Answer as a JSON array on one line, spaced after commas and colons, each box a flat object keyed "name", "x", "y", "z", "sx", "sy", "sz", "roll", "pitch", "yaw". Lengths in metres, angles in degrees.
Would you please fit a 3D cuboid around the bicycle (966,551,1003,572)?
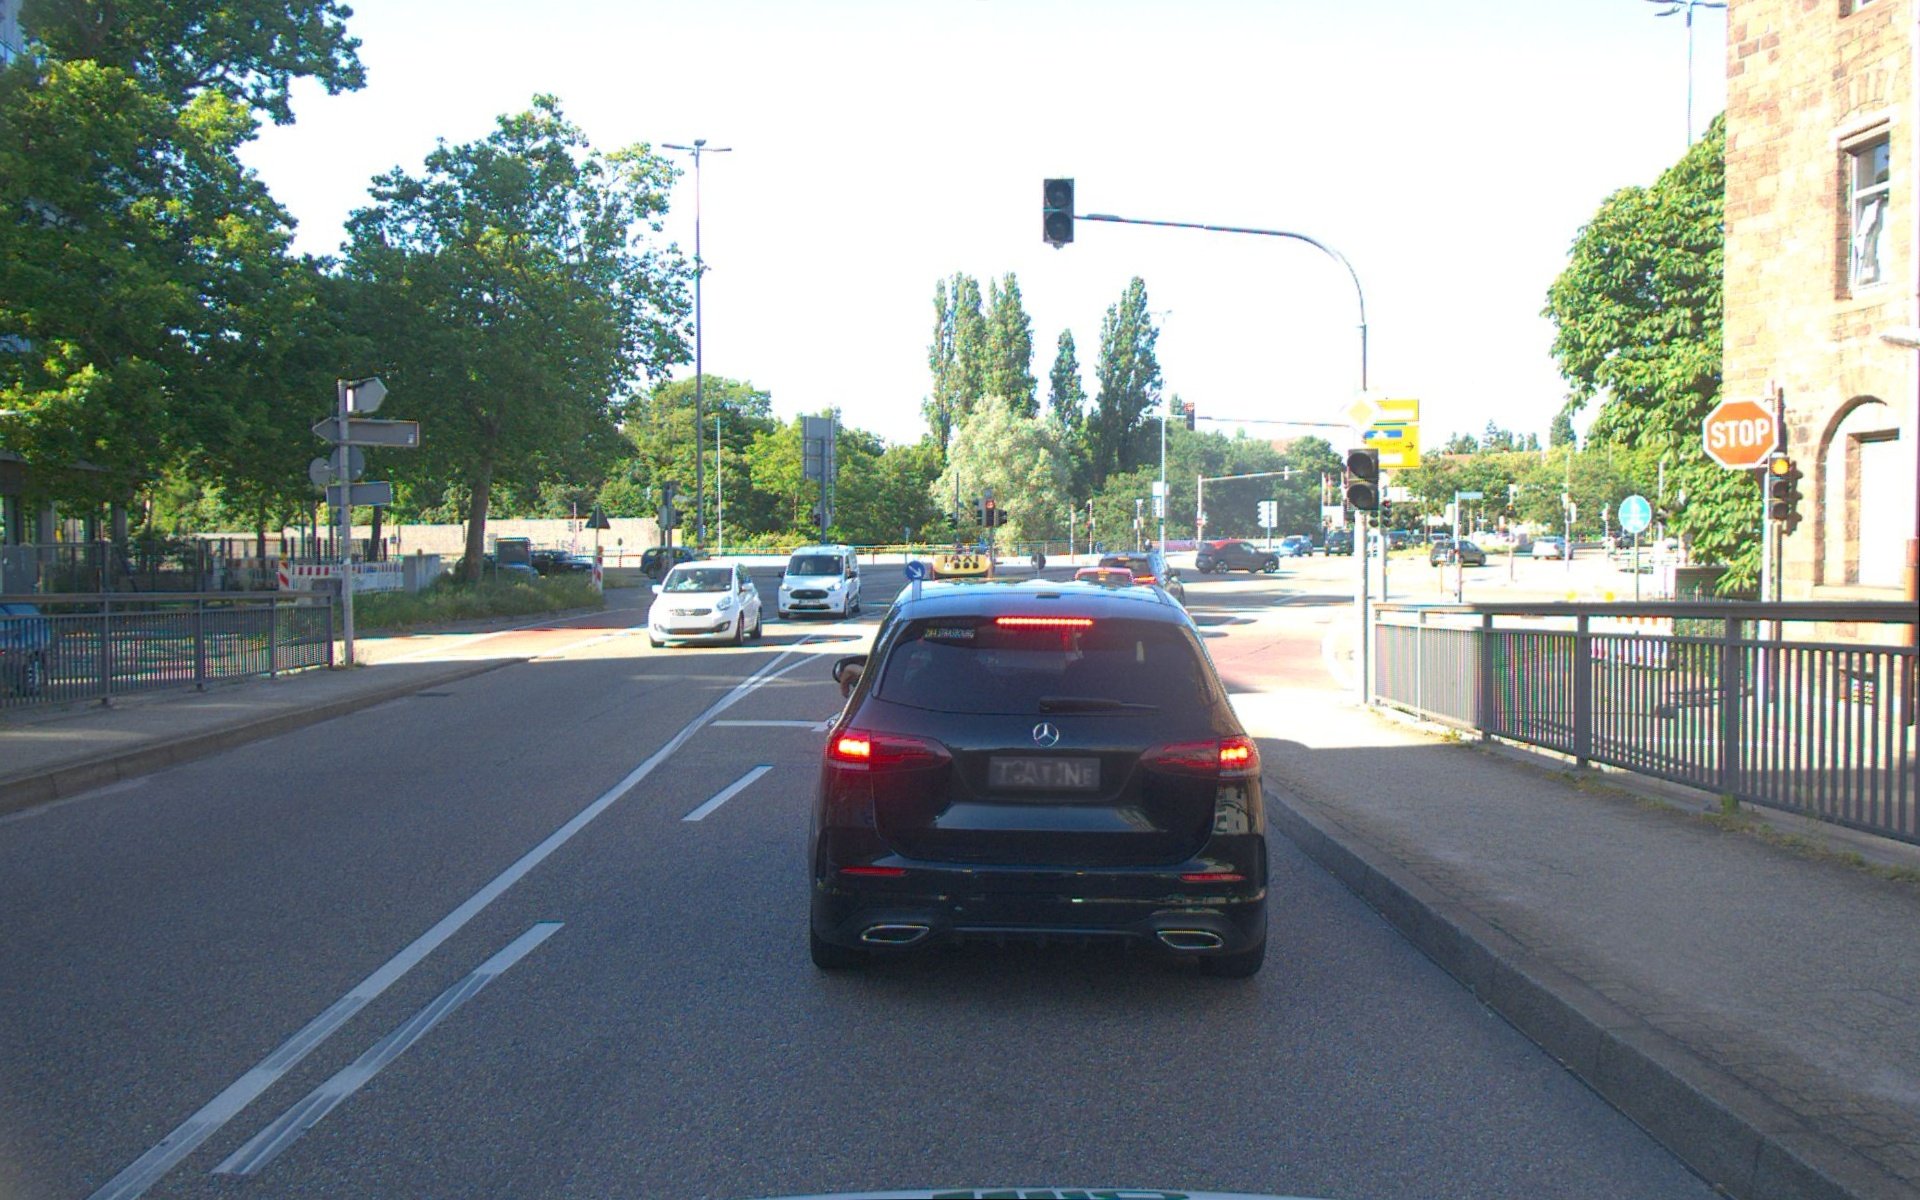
[{"name": "bicycle", "x": 1.275, "y": -2.026, "z": 86.503, "sx": 1.964, "sy": 1.068, "sz": 0.522, "roll": -3, "pitch": 2, "yaw": -32}]

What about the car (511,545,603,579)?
[{"name": "car", "x": -20.303, "y": -1.899, "z": 83.398, "sx": 4.311, "sy": 1.658, "sz": 1.889, "roll": 0, "pitch": 2, "yaw": 27}]

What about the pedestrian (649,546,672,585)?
[{"name": "pedestrian", "x": -11.804, "y": -1.359, "z": 65.239, "sx": 0.690, "sy": 1.552, "sz": 0.744, "roll": 1, "pitch": 1, "yaw": 9}]

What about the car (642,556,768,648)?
[{"name": "car", "x": -4.978, "y": -0.018, "z": 32.799, "sx": 1.741, "sy": 1.663, "sz": 4.002, "roll": -1, "pitch": 2, "yaw": 2}]

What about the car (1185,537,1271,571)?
[{"name": "car", "x": 13.259, "y": -2.279, "z": 81.748, "sx": 3.948, "sy": 1.658, "sz": 1.871, "roll": -1, "pitch": 2, "yaw": -32}]

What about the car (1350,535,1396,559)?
[{"name": "car", "x": 28.237, "y": -3.643, "z": 113.010, "sx": 1.846, "sy": 1.605, "sz": 3.988, "roll": 1, "pitch": 2, "yaw": 34}]

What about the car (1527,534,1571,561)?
[{"name": "car", "x": 37.233, "y": -3.314, "z": 104.454, "sx": 1.850, "sy": 1.658, "sz": 3.991, "roll": 0, "pitch": 2, "yaw": 31}]

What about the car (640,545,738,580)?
[{"name": "car", "x": -13.067, "y": -1.805, "z": 79.826, "sx": 4.306, "sy": 1.658, "sz": 1.891, "roll": 0, "pitch": 1, "yaw": 21}]

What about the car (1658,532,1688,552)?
[{"name": "car", "x": 58.593, "y": -4.738, "z": 135.940, "sx": 1.707, "sy": 1.524, "sz": 3.990, "roll": 0, "pitch": 0, "yaw": 32}]

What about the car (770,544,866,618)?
[{"name": "car", "x": -3.709, "y": -0.563, "z": 44.036, "sx": 1.878, "sy": 1.825, "sz": 4.901, "roll": -1, "pitch": 2, "yaw": 2}]

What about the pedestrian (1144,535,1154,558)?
[{"name": "pedestrian", "x": 13.592, "y": -3.825, "z": 118.952, "sx": 0.443, "sy": 1.613, "sz": 0.499, "roll": 0, "pitch": 2, "yaw": 39}]

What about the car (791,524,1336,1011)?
[{"name": "car", "x": 0.309, "y": 0.549, "z": 7.638, "sx": 1.840, "sy": 1.641, "sz": 3.999, "roll": 1, "pitch": 1, "yaw": -2}]

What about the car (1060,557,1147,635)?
[{"name": "car", "x": 3.248, "y": -0.131, "z": 37.023, "sx": 1.685, "sy": 1.548, "sz": 3.490, "roll": 0, "pitch": 3, "yaw": 9}]

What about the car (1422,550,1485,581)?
[{"name": "car", "x": 27.400, "y": -1.928, "z": 91.758, "sx": 1.857, "sy": 1.658, "sz": 3.977, "roll": 1, "pitch": 2, "yaw": 41}]

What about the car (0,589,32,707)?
[{"name": "car", "x": -15.008, "y": 0.763, "z": 23.164, "sx": 1.814, "sy": 1.722, "sz": 4.000, "roll": 0, "pitch": 2, "yaw": -2}]

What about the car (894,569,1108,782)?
[{"name": "car", "x": 0.338, "y": 0.546, "z": 14.384, "sx": 1.606, "sy": 1.556, "sz": 3.475, "roll": -1, "pitch": 2, "yaw": 1}]

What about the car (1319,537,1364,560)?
[{"name": "car", "x": 27.054, "y": -3.645, "z": 117.251, "sx": 1.846, "sy": 1.605, "sz": 3.988, "roll": 1, "pitch": 2, "yaw": 34}]

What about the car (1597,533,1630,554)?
[{"name": "car", "x": 54.695, "y": -4.713, "z": 138.439, "sx": 1.851, "sy": 1.574, "sz": 3.989, "roll": 1, "pitch": 0, "yaw": 32}]

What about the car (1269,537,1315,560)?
[{"name": "car", "x": 23.792, "y": -3.690, "z": 118.309, "sx": 1.846, "sy": 1.605, "sz": 3.988, "roll": 1, "pitch": 2, "yaw": 34}]

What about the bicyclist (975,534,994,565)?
[{"name": "bicyclist", "x": 1.270, "y": -2.639, "z": 86.478, "sx": 0.796, "sy": 1.578, "sz": 0.522, "roll": -2, "pitch": 2, "yaw": -31}]

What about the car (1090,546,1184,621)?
[{"name": "car", "x": 4.616, "y": -0.453, "z": 42.662, "sx": 1.685, "sy": 1.843, "sz": 4.301, "roll": 0, "pitch": 1, "yaw": 16}]
